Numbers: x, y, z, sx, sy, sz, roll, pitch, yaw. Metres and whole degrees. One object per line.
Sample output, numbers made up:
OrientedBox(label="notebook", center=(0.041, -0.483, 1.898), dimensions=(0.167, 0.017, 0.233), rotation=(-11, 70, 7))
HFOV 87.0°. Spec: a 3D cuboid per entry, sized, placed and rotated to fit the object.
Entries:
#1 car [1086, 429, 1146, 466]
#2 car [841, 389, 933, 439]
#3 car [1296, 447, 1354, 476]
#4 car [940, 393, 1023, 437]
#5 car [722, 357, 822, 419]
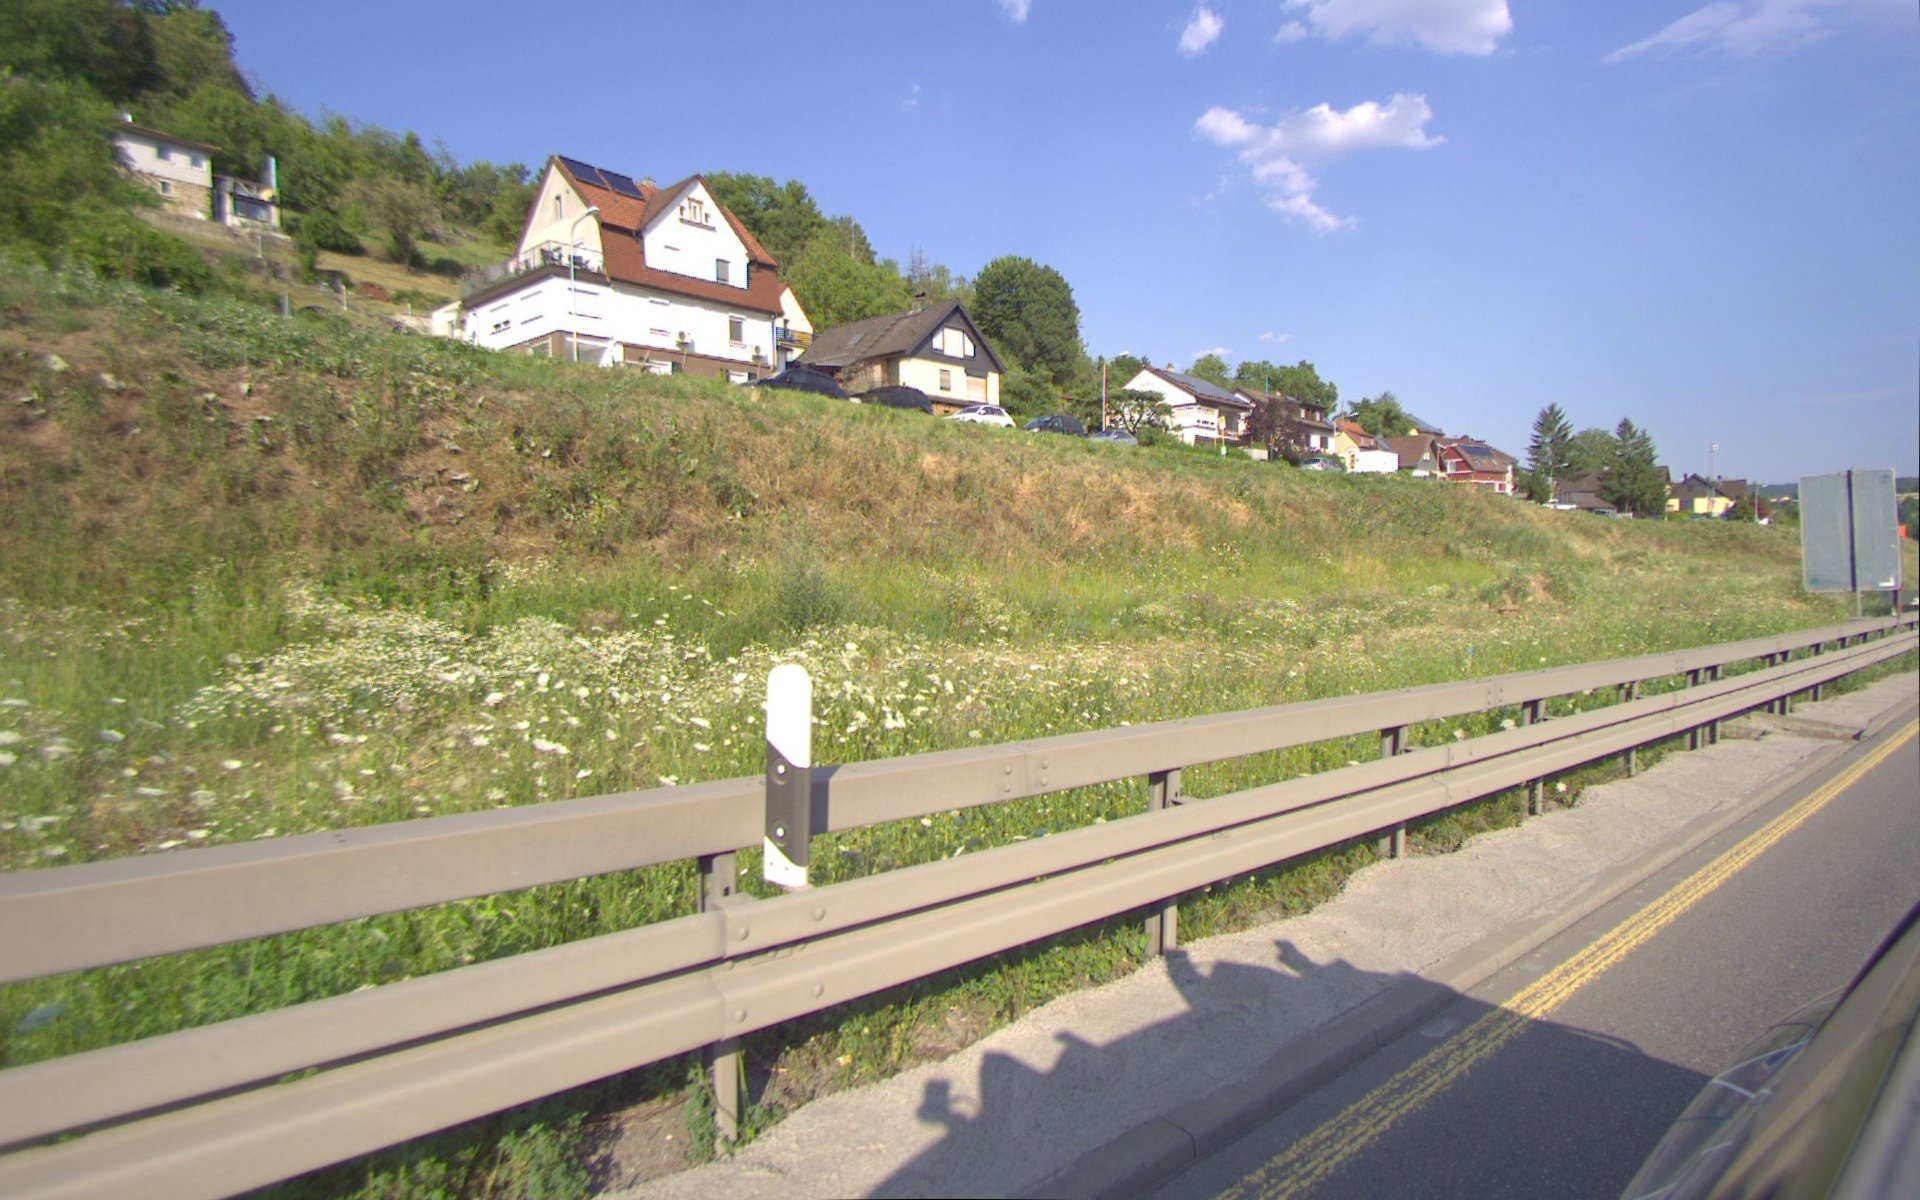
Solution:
OrientedBox(label="car", center=(7.812, -7.573, 50.528), dimensions=(1.443, 1.389, 3.508), rotation=(0, 1, 39))
OrientedBox(label="car", center=(-2.745, -7.081, 38.801), dimensions=(1.340, 1.248, 3.848), rotation=(0, 1, 37))
OrientedBox(label="car", center=(24.122, -9.117, 66.875), dimensions=(3.931, 1.460, 1.997), rotation=(-1, 1, -41))
OrientedBox(label="car", center=(0.957, -7.853, 43.211), dimensions=(1.343, 1.248, 3.841), rotation=(0, 1, 42))
OrientedBox(label="car", center=(-6.345, -7.133, 34.316), dimensions=(1.356, 1.476, 3.185), rotation=(0, 1, 41))
